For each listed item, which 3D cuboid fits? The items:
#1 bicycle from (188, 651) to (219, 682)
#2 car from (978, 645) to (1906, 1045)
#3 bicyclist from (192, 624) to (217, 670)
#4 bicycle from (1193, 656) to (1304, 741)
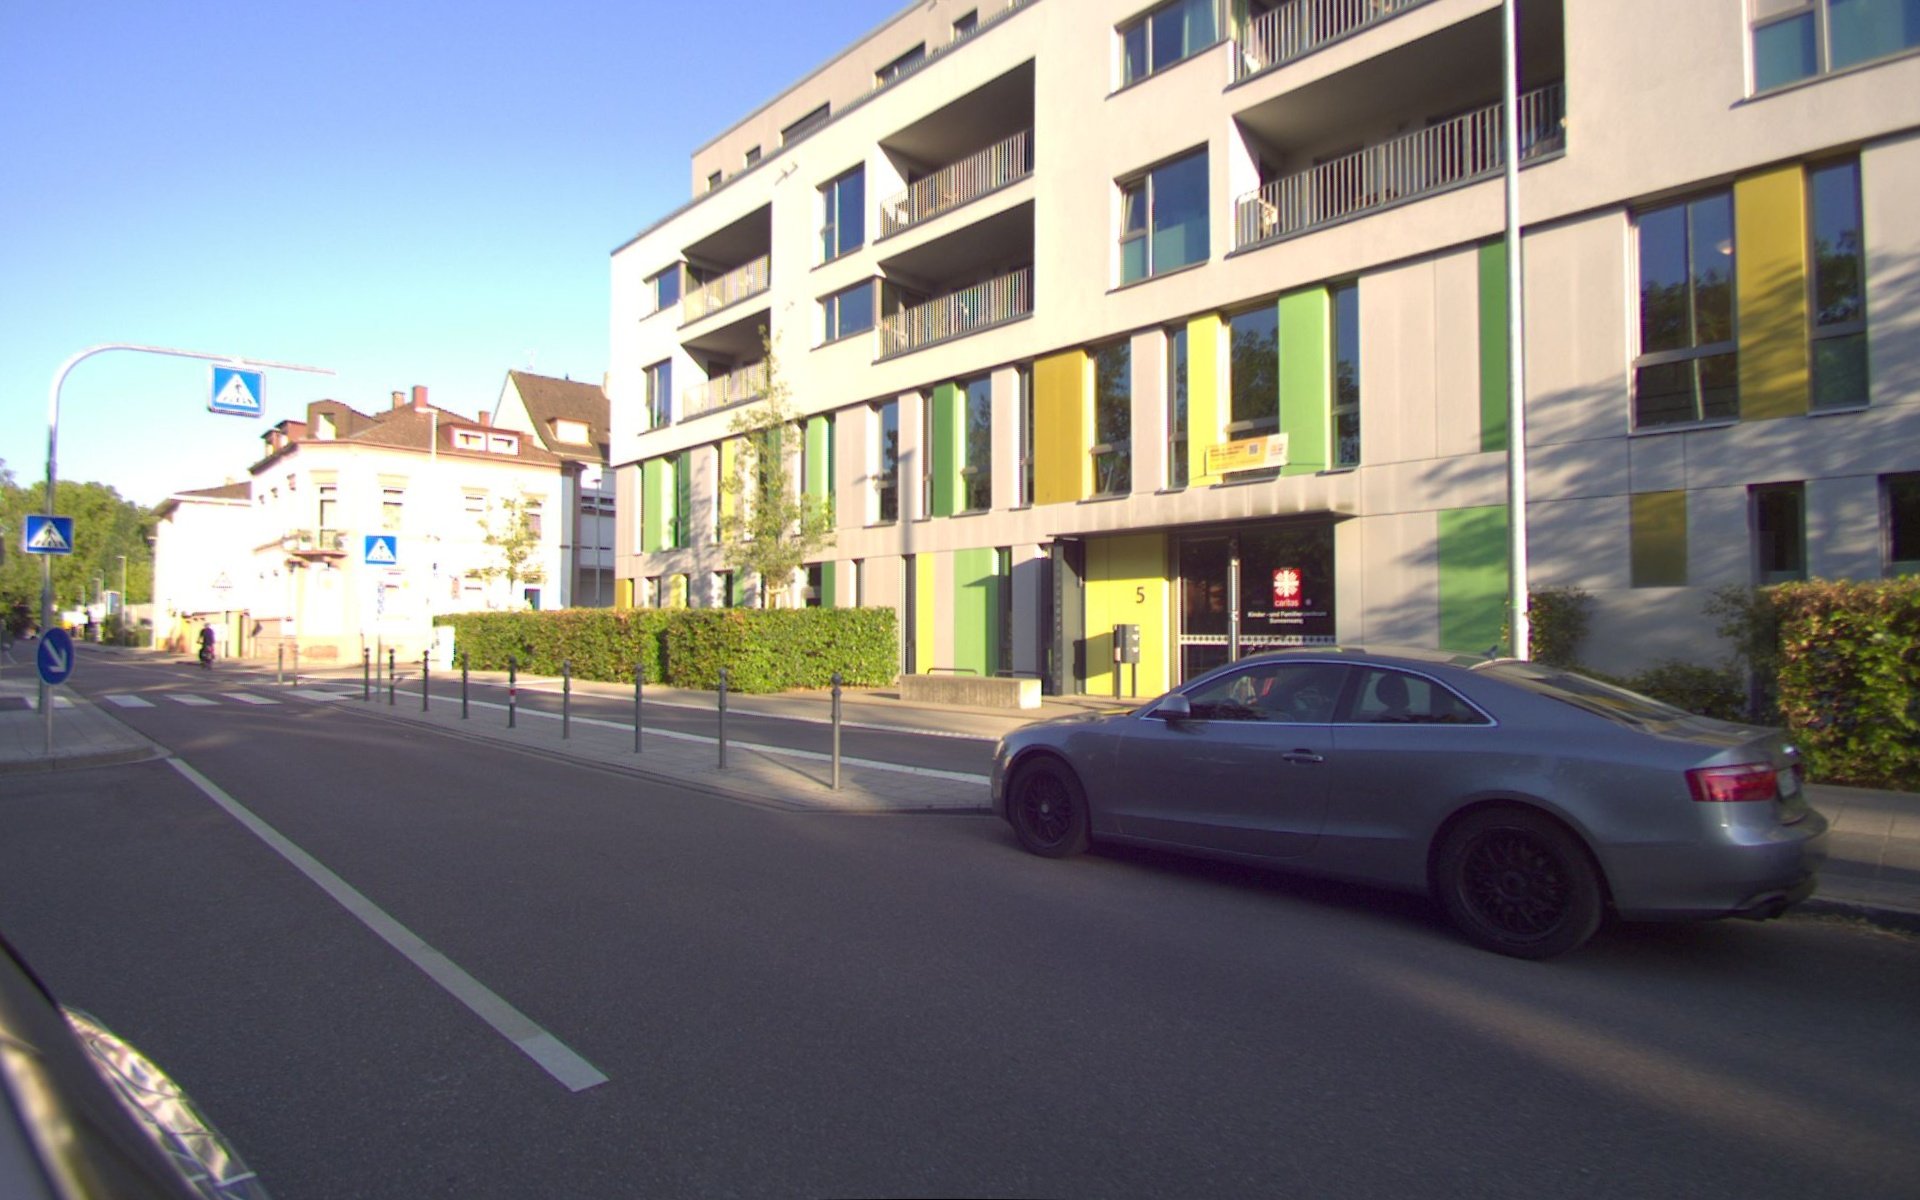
[{"bbox_3d":[-27.544,2.402,36.857,0.626,1.086,1.884,2,-3,-45],"label":"bicycle"},{"bbox_3d":[2.262,0.942,5.708,1.722,1.367,4.399,2,-3,-44],"label":"car"},{"bbox_3d":[-27.545,1.720,36.895,0.619,1.657,0.758,2,-3,-45],"label":"bicyclist"},{"bbox_3d":[3.693,1.216,12.883,0.617,0.925,1.732,-2,-1,43],"label":"bicycle"}]
